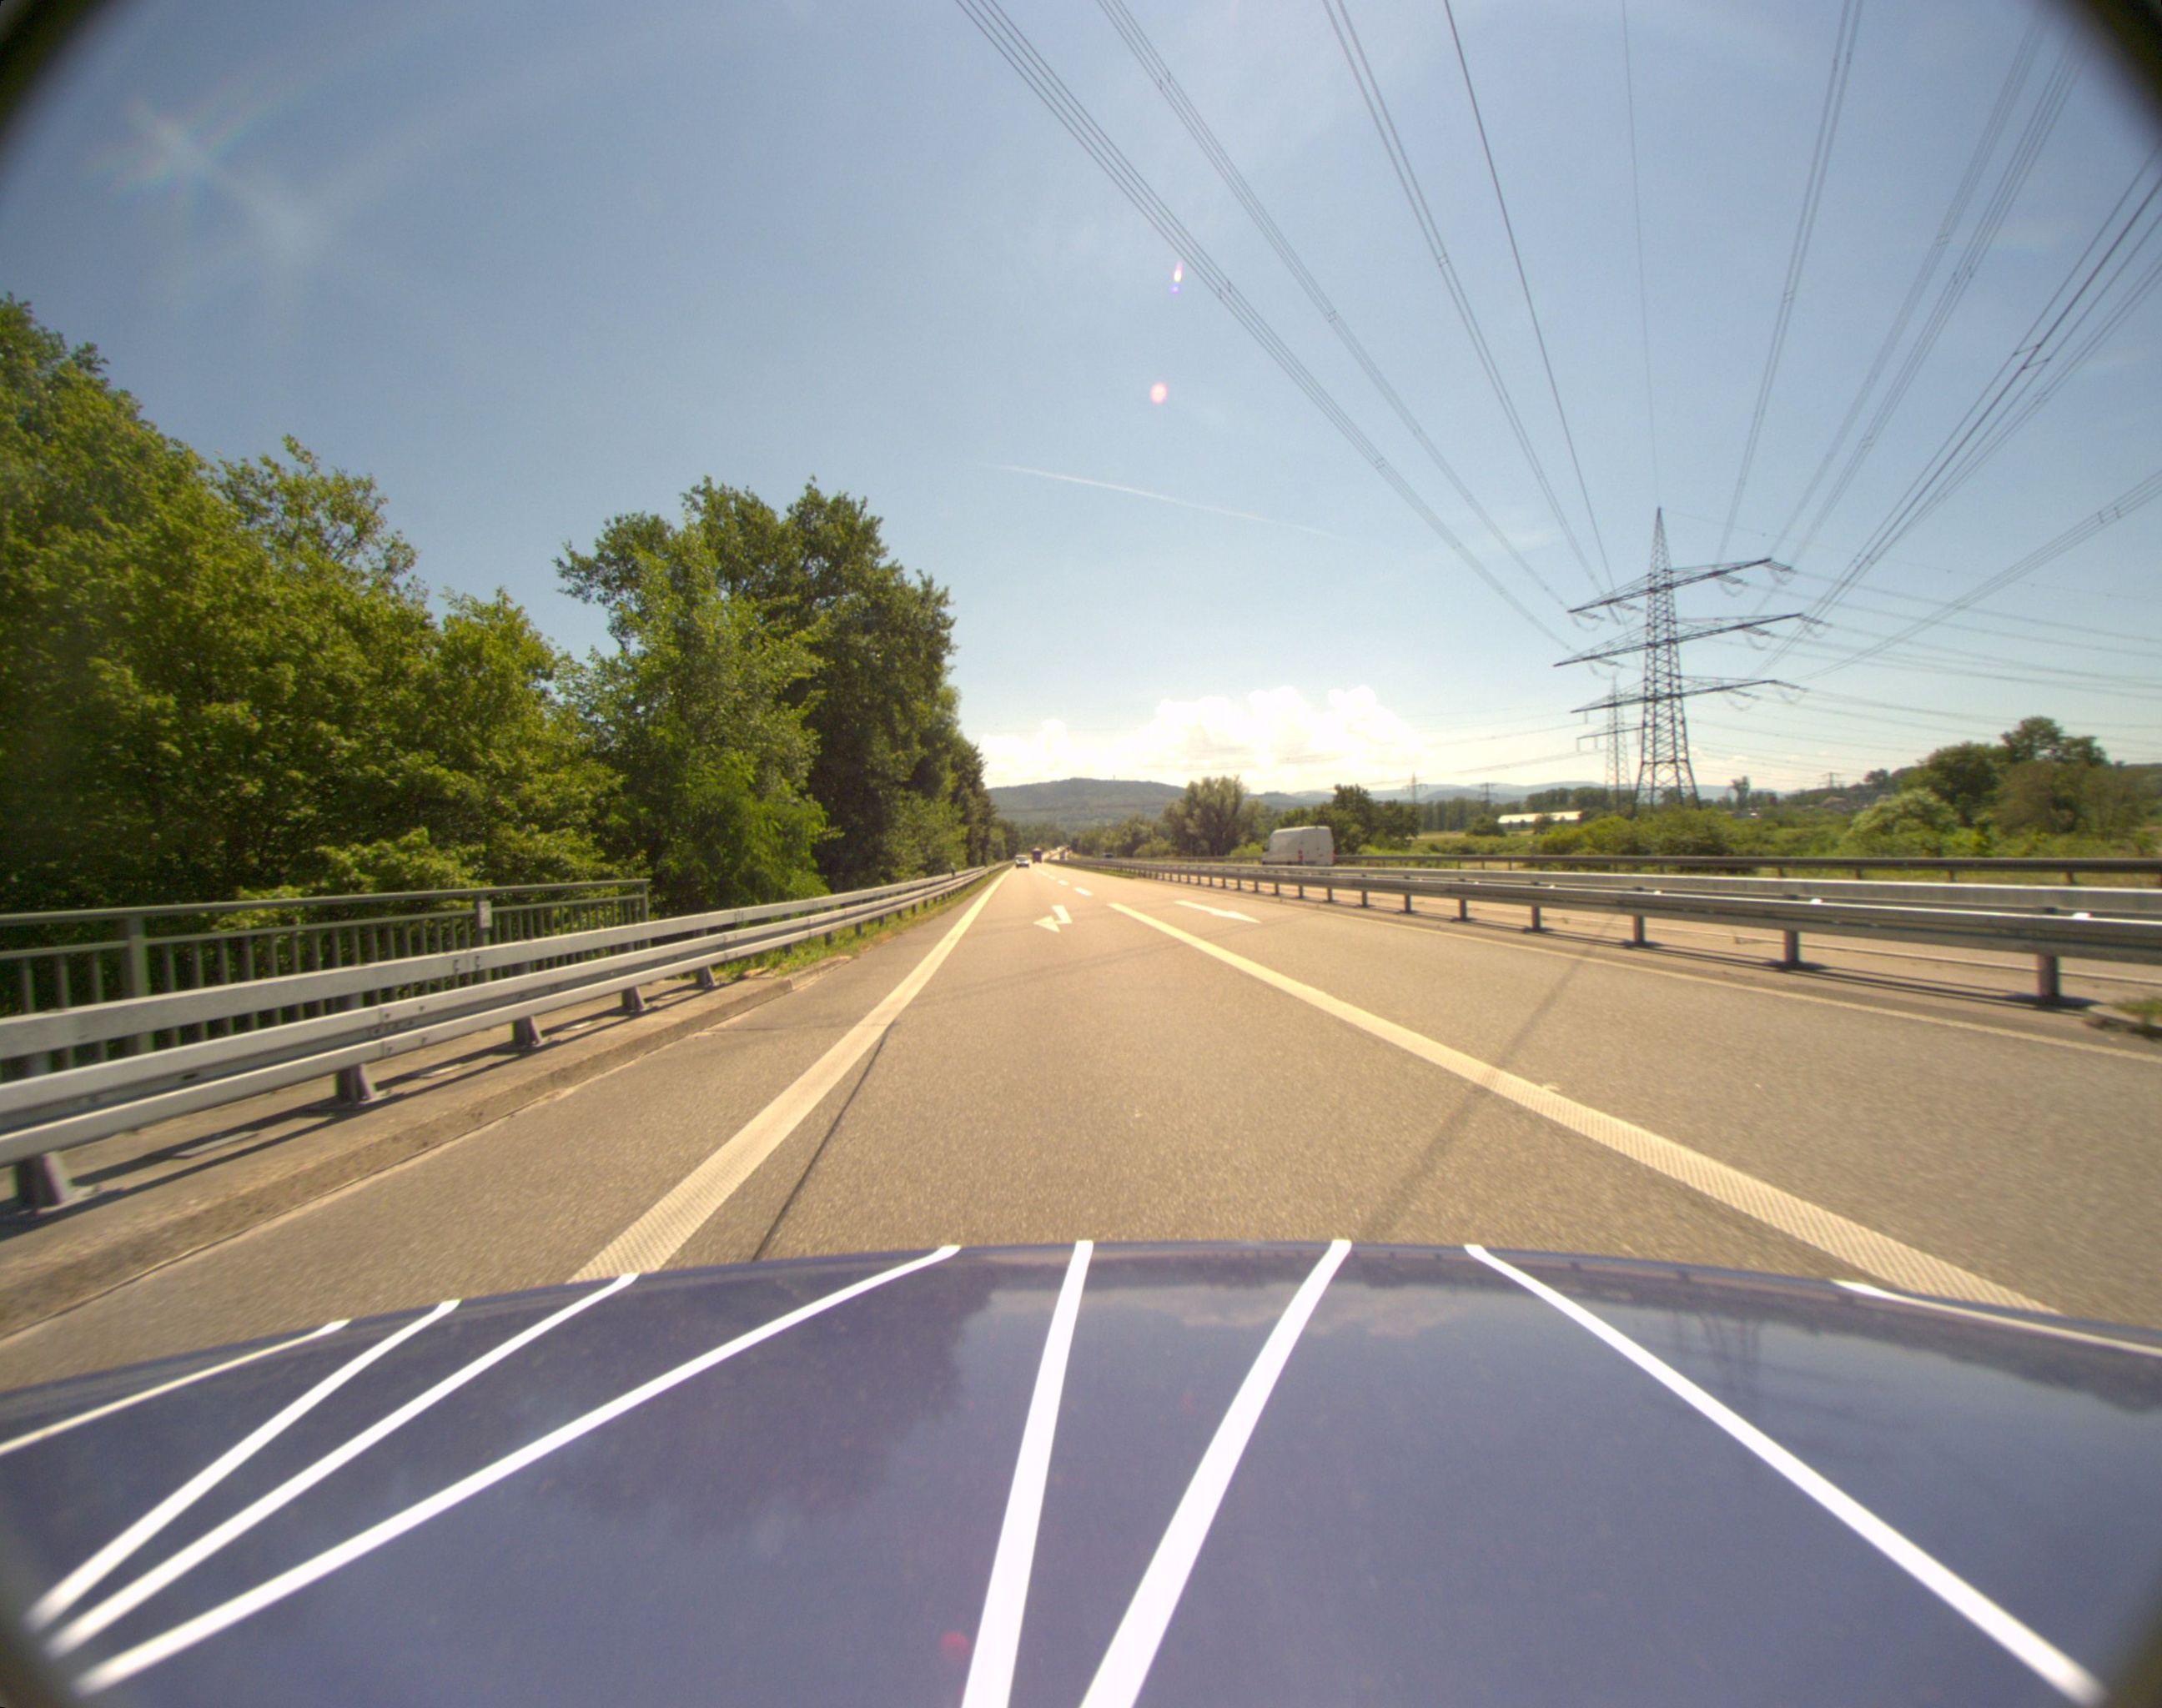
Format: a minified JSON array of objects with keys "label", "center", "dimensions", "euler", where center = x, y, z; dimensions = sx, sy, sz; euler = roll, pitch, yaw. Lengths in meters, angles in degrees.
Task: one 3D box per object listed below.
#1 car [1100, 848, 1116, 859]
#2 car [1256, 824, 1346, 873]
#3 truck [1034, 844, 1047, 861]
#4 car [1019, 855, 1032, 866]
[{"label":"car","center":[4.768,-0.098,134.379],"dimensions":[1.897,1.981,5.529],"euler":[-2,0,-6]},{"label":"car","center":[12.384,-0.297,43.512],"dimensions":[2.532,2.603,7.182],"euler":[0,0,-5]},{"label":"truck","center":[-10.659,-0.419,202.518],"dimensions":[2.827,4.143,9.946],"euler":[-2,1,0]},{"label":"car","center":[-8.207,0.952,112.545],"dimensions":[1.577,1.387,3.485],"euler":[-2,1,0]}]
